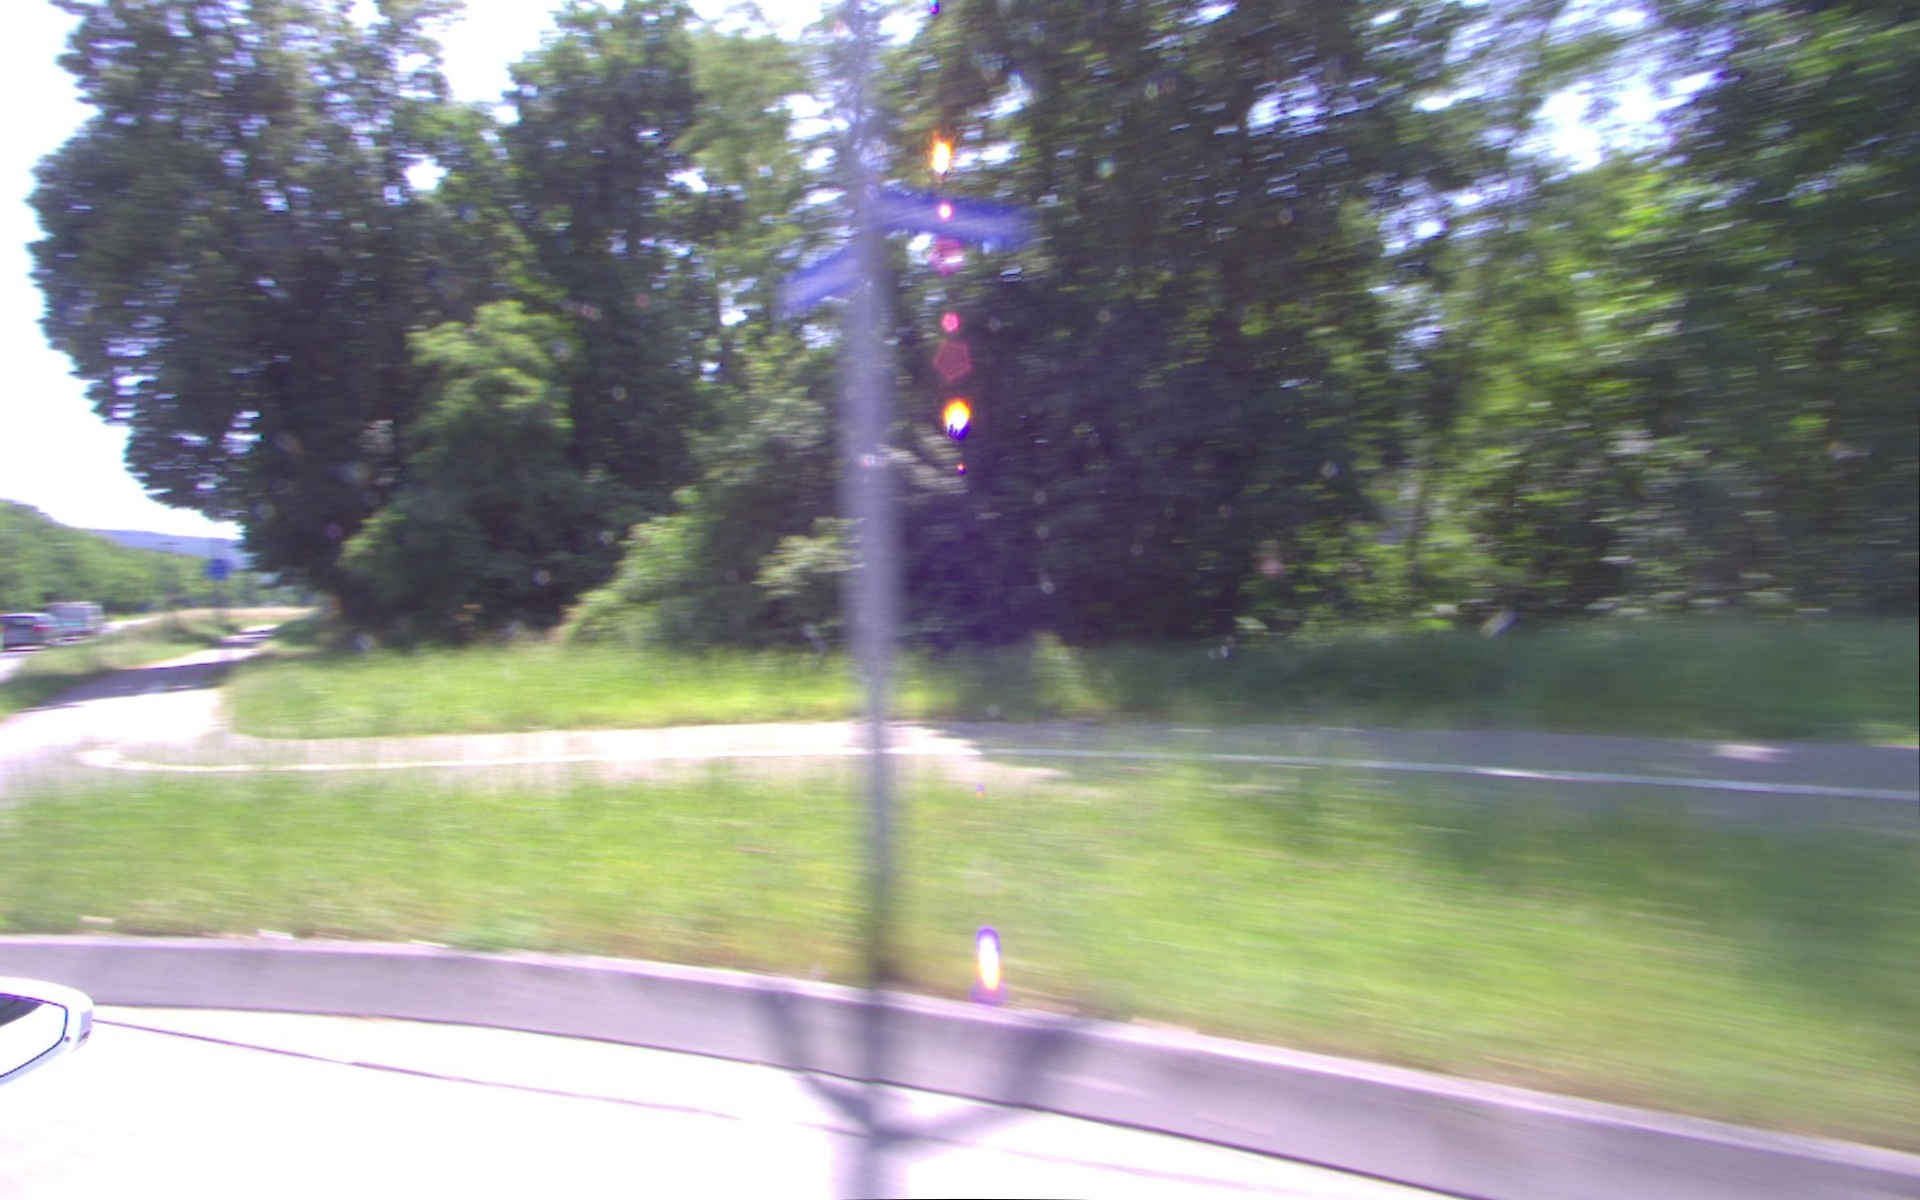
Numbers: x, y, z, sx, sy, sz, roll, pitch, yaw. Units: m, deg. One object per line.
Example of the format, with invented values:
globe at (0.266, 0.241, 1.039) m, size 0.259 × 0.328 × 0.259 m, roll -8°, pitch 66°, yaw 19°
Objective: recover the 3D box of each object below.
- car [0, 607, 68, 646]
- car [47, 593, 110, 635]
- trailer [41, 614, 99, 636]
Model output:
car at (-40.908, 1.131, 44.118) m, size 1.766 × 1.628 × 4.102 m, roll -1°, pitch 0°, yaw -33°
car at (-51.906, 0.791, 59.058) m, size 2.145 × 2.347 × 4.948 m, roll -1°, pitch 0°, yaw -34°
trailer at (-49.492, 1.389, 55.763) m, size 2.102 × 1.112 × 3.330 m, roll -1°, pitch 0°, yaw -37°
